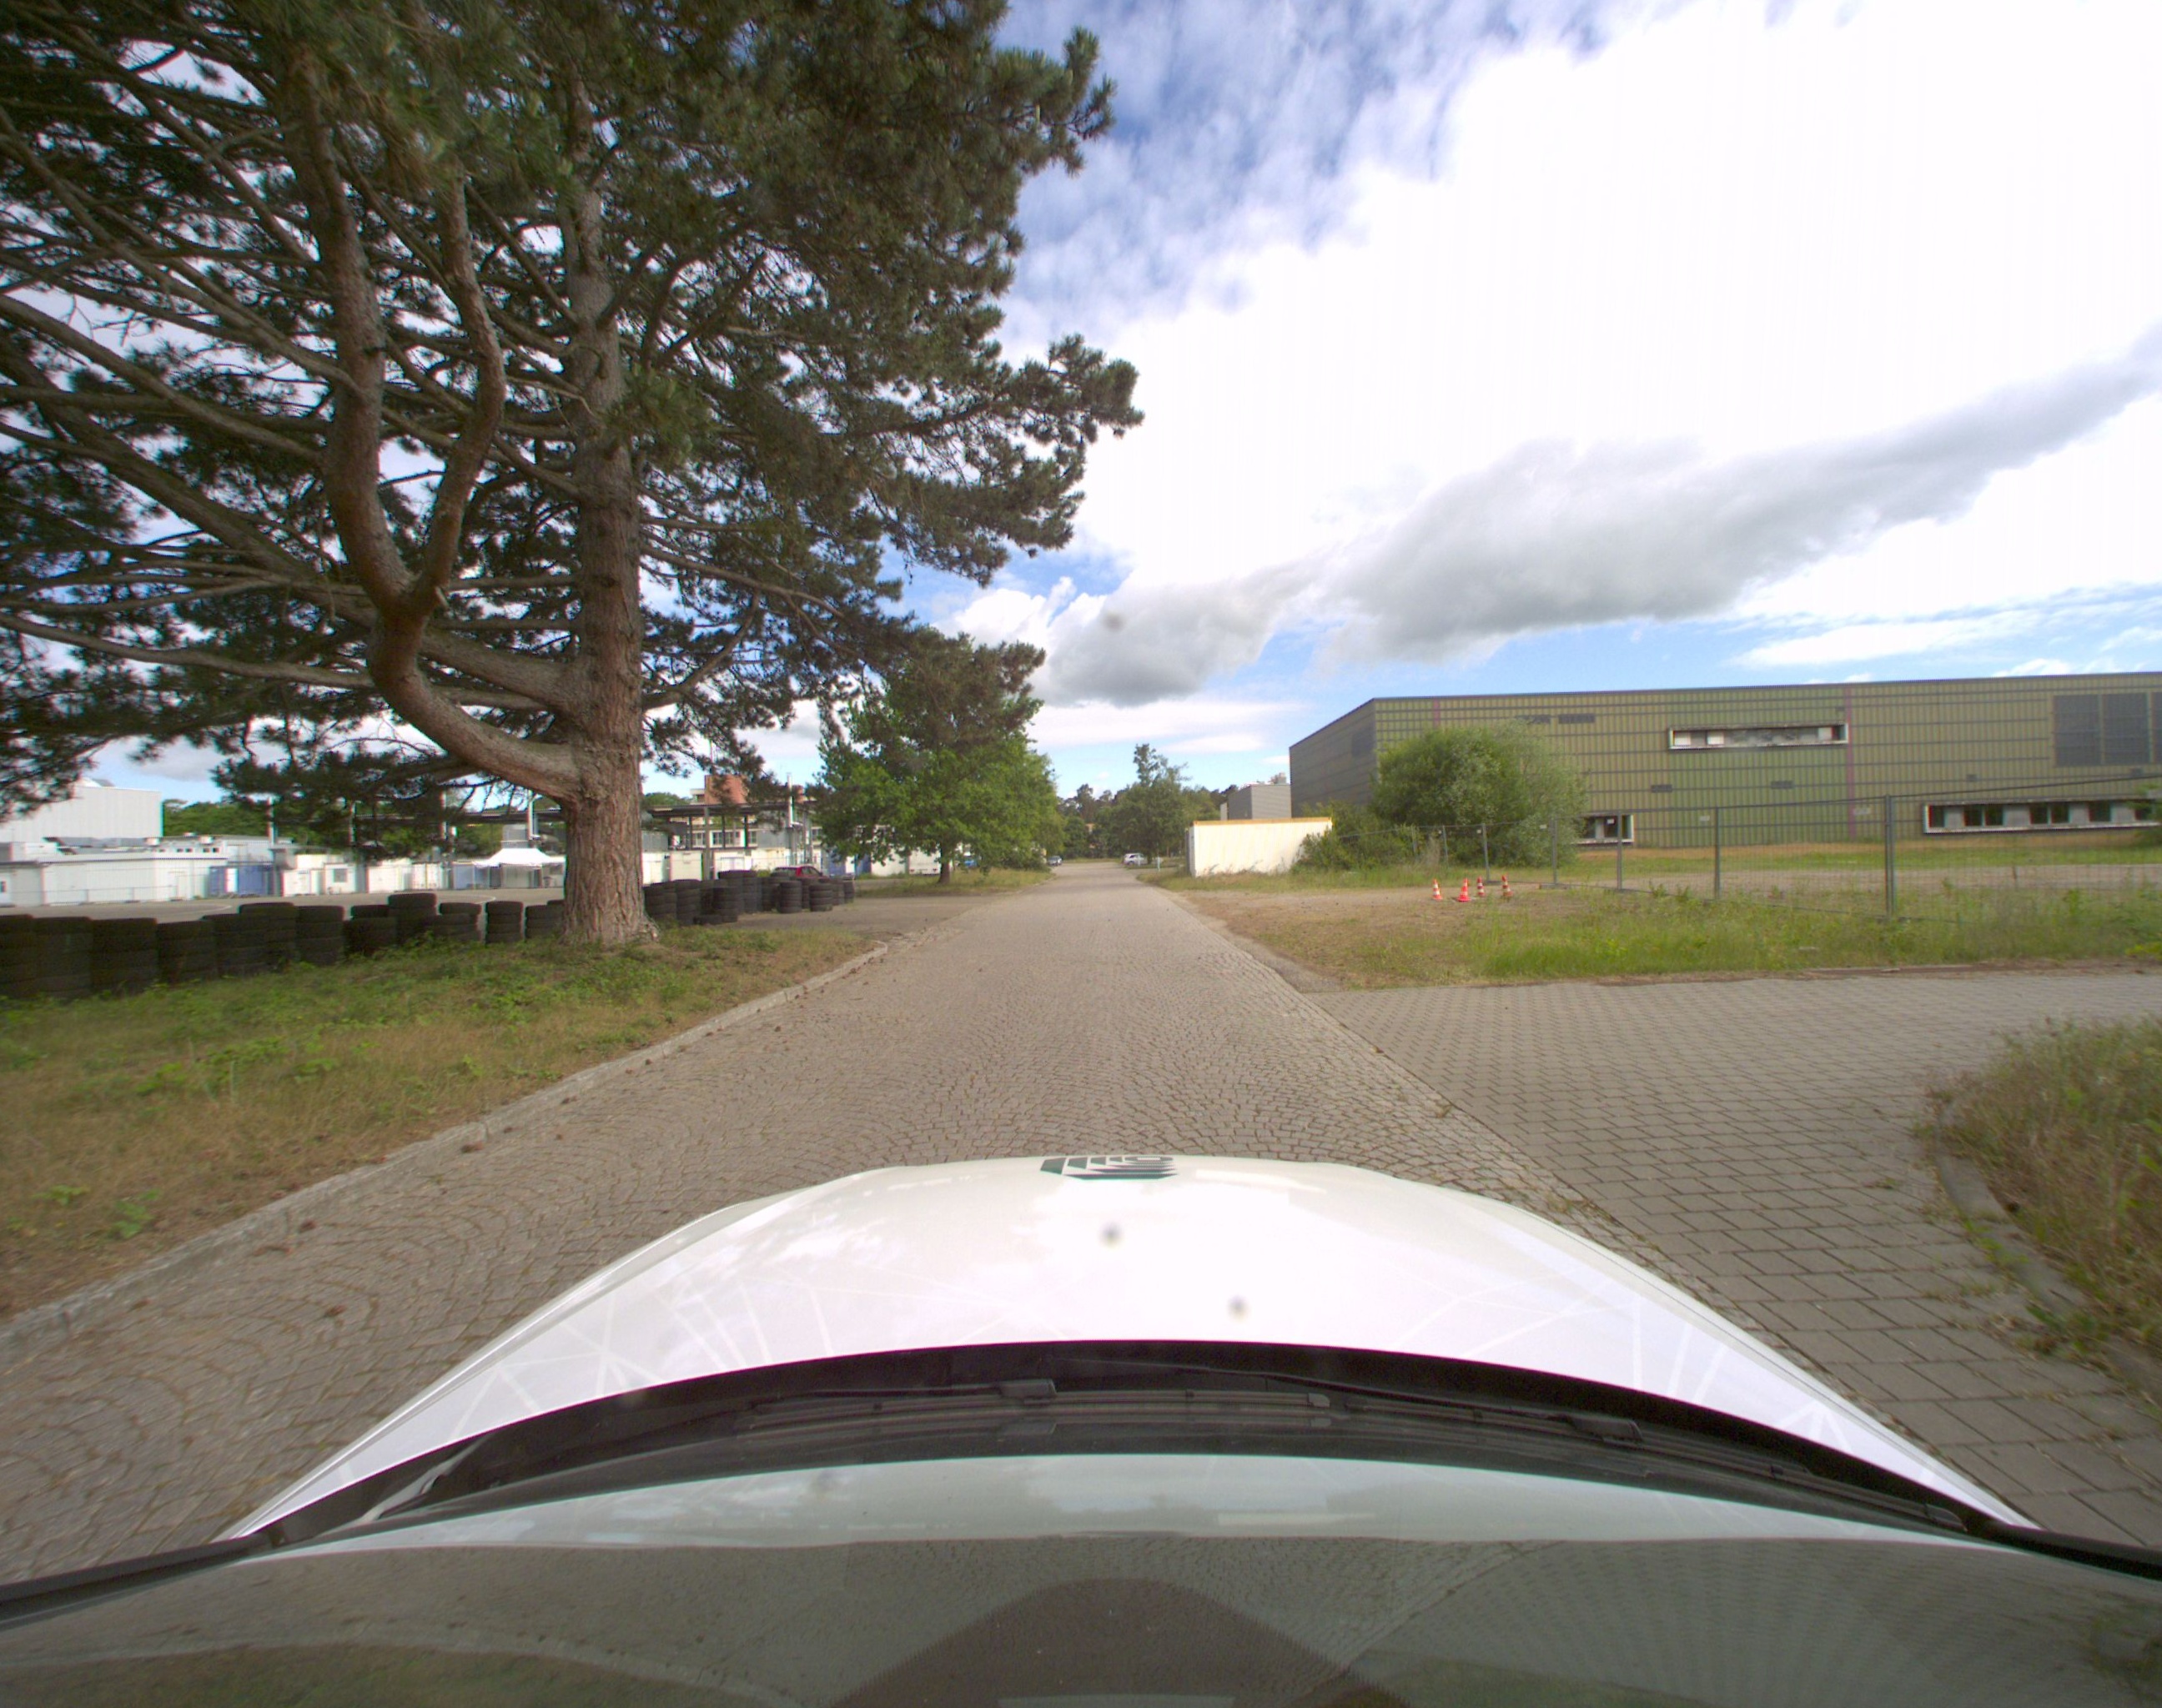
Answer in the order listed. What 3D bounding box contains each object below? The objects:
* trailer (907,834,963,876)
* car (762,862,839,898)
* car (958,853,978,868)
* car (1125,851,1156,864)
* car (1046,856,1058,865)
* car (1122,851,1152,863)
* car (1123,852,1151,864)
[{"bbox_3d":[-13.261,0.085,75.071,2.614,3.598,10.187,-2,0,4],"label":"trailer"},{"bbox_3d":[-12.669,1.149,37.035,1.617,1.433,4.072,-2,0,7],"label":"car"},{"bbox_3d":[-15.877,0.895,114.946,1.986,2.013,4.769,-2,0,2],"label":"car"},{"bbox_3d":[7.835,0.505,107.721,3.970,1.448,1.654,-4,0,1],"label":"car"},{"bbox_3d":[-4.536,0.967,126.795,1.642,1.369,3.999,-2,0,2],"label":"car"},{"bbox_3d":[7.731,0.408,112.858,3.970,1.475,1.654,-4,0,1],"label":"car"},{"bbox_3d":[7.218,0.509,105.036,3.509,1.362,1.623,-4,0,1],"label":"car"}]
